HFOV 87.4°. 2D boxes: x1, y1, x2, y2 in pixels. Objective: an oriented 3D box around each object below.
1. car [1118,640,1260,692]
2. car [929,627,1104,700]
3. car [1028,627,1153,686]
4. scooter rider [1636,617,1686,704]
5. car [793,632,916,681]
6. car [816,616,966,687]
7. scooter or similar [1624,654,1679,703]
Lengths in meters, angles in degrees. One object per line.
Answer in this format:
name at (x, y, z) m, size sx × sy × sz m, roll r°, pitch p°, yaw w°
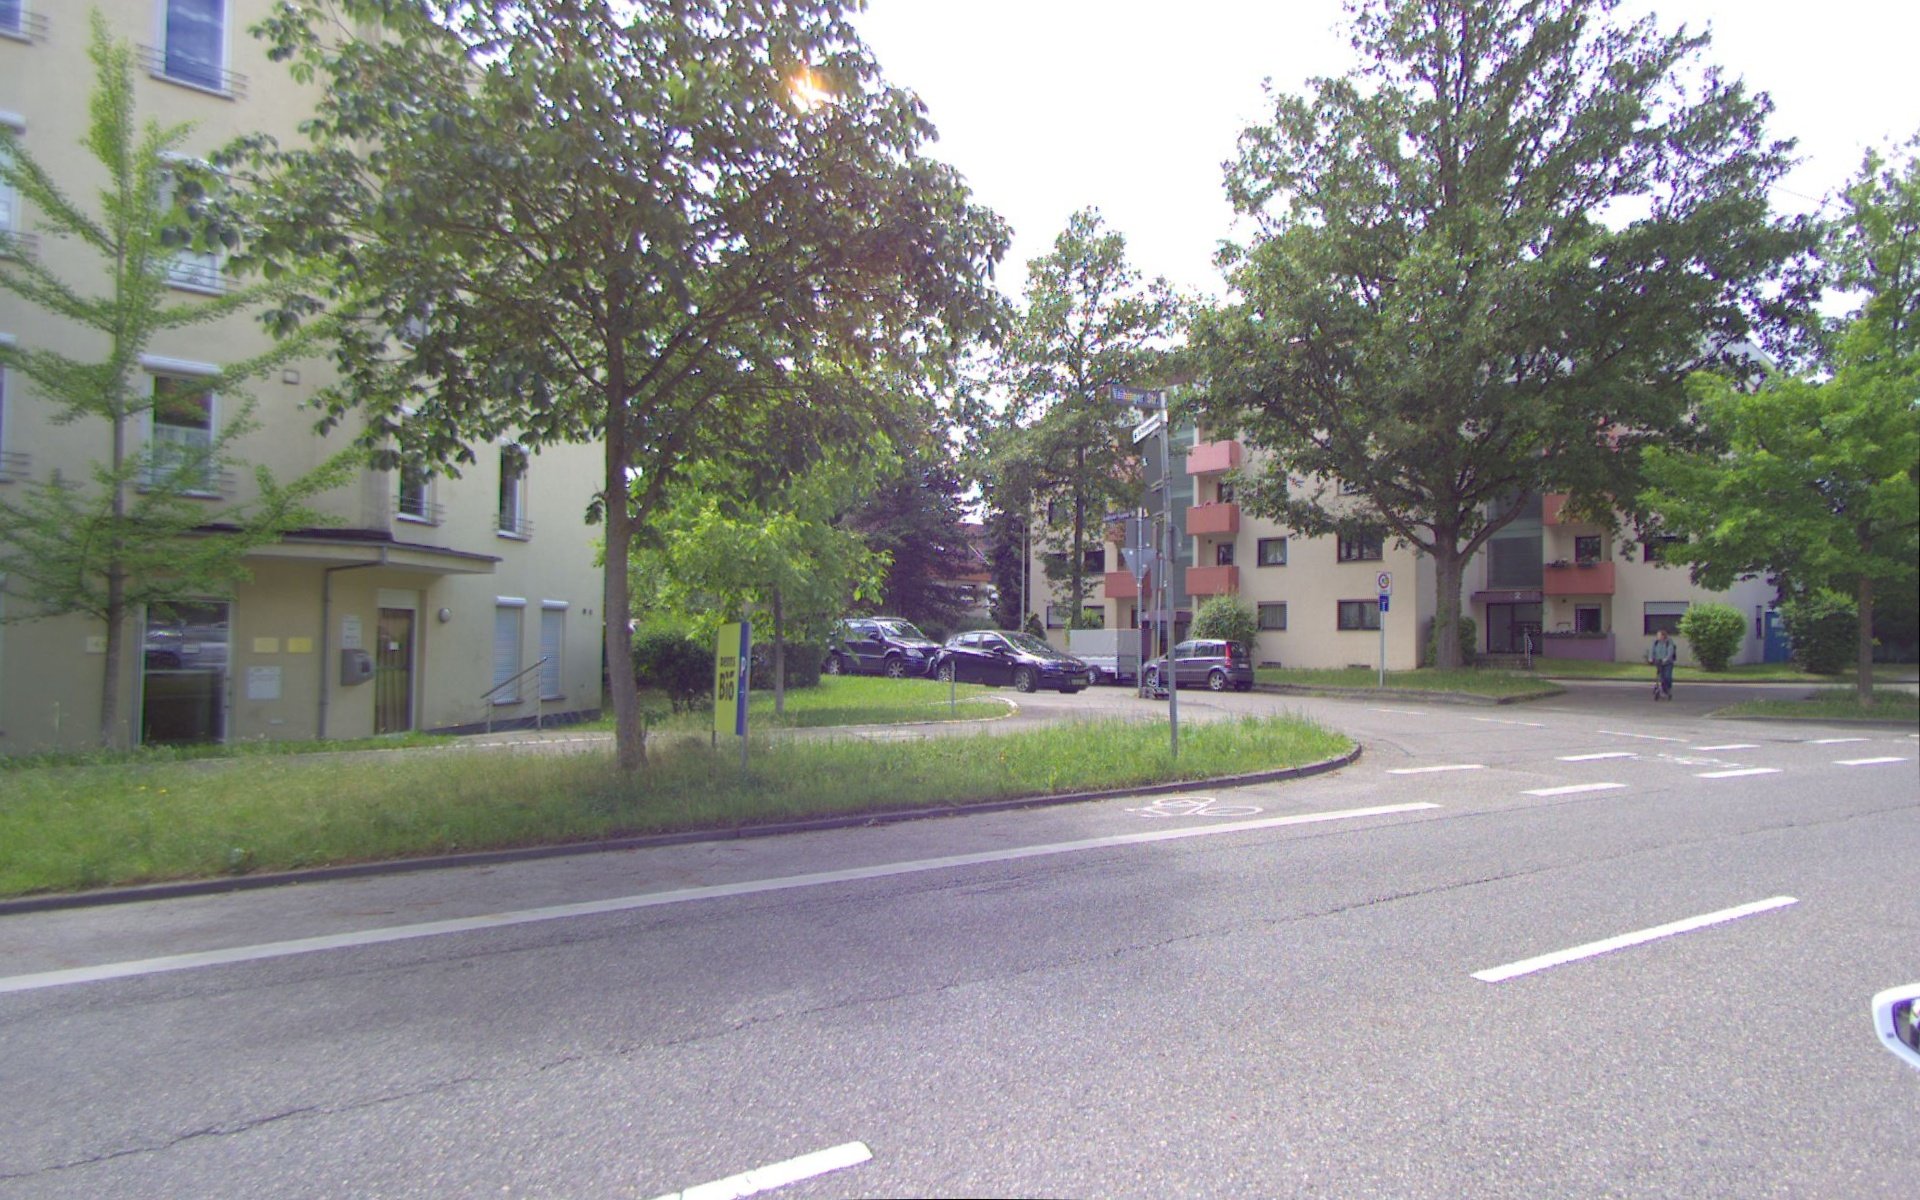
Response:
car at (6.935, 1.965, 30.679) m, size 3.945 × 1.471 × 1.687 m, roll -2°, pitch -3°, yaw 43°
car at (1.251, 1.435, 23.799) m, size 1.725 × 1.417 × 4.100 m, roll 2°, pitch 0°, yaw -42°
car at (4.365, 1.938, 34.104) m, size 1.832 × 1.868 × 3.952 m, roll 2°, pitch -5°, yaw -42°
scooter rider at (16.987, 1.457, 24.333) m, size 0.785 × 2.040 × 0.673 m, roll 2°, pitch 0°, yaw -30°
car at (-4.133, 2.157, 39.192) m, size 4.337 × 1.817 × 2.124 m, roll -1°, pitch -2°, yaw 28°
car at (-1.988, 1.359, 27.779) m, size 1.857 × 1.675 × 4.379 m, roll 2°, pitch 0°, yaw -41°
scooter or similar at (16.843, 1.900, 24.459) m, size 0.934 × 1.098 × 0.753 m, roll 2°, pitch 0°, yaw -30°
